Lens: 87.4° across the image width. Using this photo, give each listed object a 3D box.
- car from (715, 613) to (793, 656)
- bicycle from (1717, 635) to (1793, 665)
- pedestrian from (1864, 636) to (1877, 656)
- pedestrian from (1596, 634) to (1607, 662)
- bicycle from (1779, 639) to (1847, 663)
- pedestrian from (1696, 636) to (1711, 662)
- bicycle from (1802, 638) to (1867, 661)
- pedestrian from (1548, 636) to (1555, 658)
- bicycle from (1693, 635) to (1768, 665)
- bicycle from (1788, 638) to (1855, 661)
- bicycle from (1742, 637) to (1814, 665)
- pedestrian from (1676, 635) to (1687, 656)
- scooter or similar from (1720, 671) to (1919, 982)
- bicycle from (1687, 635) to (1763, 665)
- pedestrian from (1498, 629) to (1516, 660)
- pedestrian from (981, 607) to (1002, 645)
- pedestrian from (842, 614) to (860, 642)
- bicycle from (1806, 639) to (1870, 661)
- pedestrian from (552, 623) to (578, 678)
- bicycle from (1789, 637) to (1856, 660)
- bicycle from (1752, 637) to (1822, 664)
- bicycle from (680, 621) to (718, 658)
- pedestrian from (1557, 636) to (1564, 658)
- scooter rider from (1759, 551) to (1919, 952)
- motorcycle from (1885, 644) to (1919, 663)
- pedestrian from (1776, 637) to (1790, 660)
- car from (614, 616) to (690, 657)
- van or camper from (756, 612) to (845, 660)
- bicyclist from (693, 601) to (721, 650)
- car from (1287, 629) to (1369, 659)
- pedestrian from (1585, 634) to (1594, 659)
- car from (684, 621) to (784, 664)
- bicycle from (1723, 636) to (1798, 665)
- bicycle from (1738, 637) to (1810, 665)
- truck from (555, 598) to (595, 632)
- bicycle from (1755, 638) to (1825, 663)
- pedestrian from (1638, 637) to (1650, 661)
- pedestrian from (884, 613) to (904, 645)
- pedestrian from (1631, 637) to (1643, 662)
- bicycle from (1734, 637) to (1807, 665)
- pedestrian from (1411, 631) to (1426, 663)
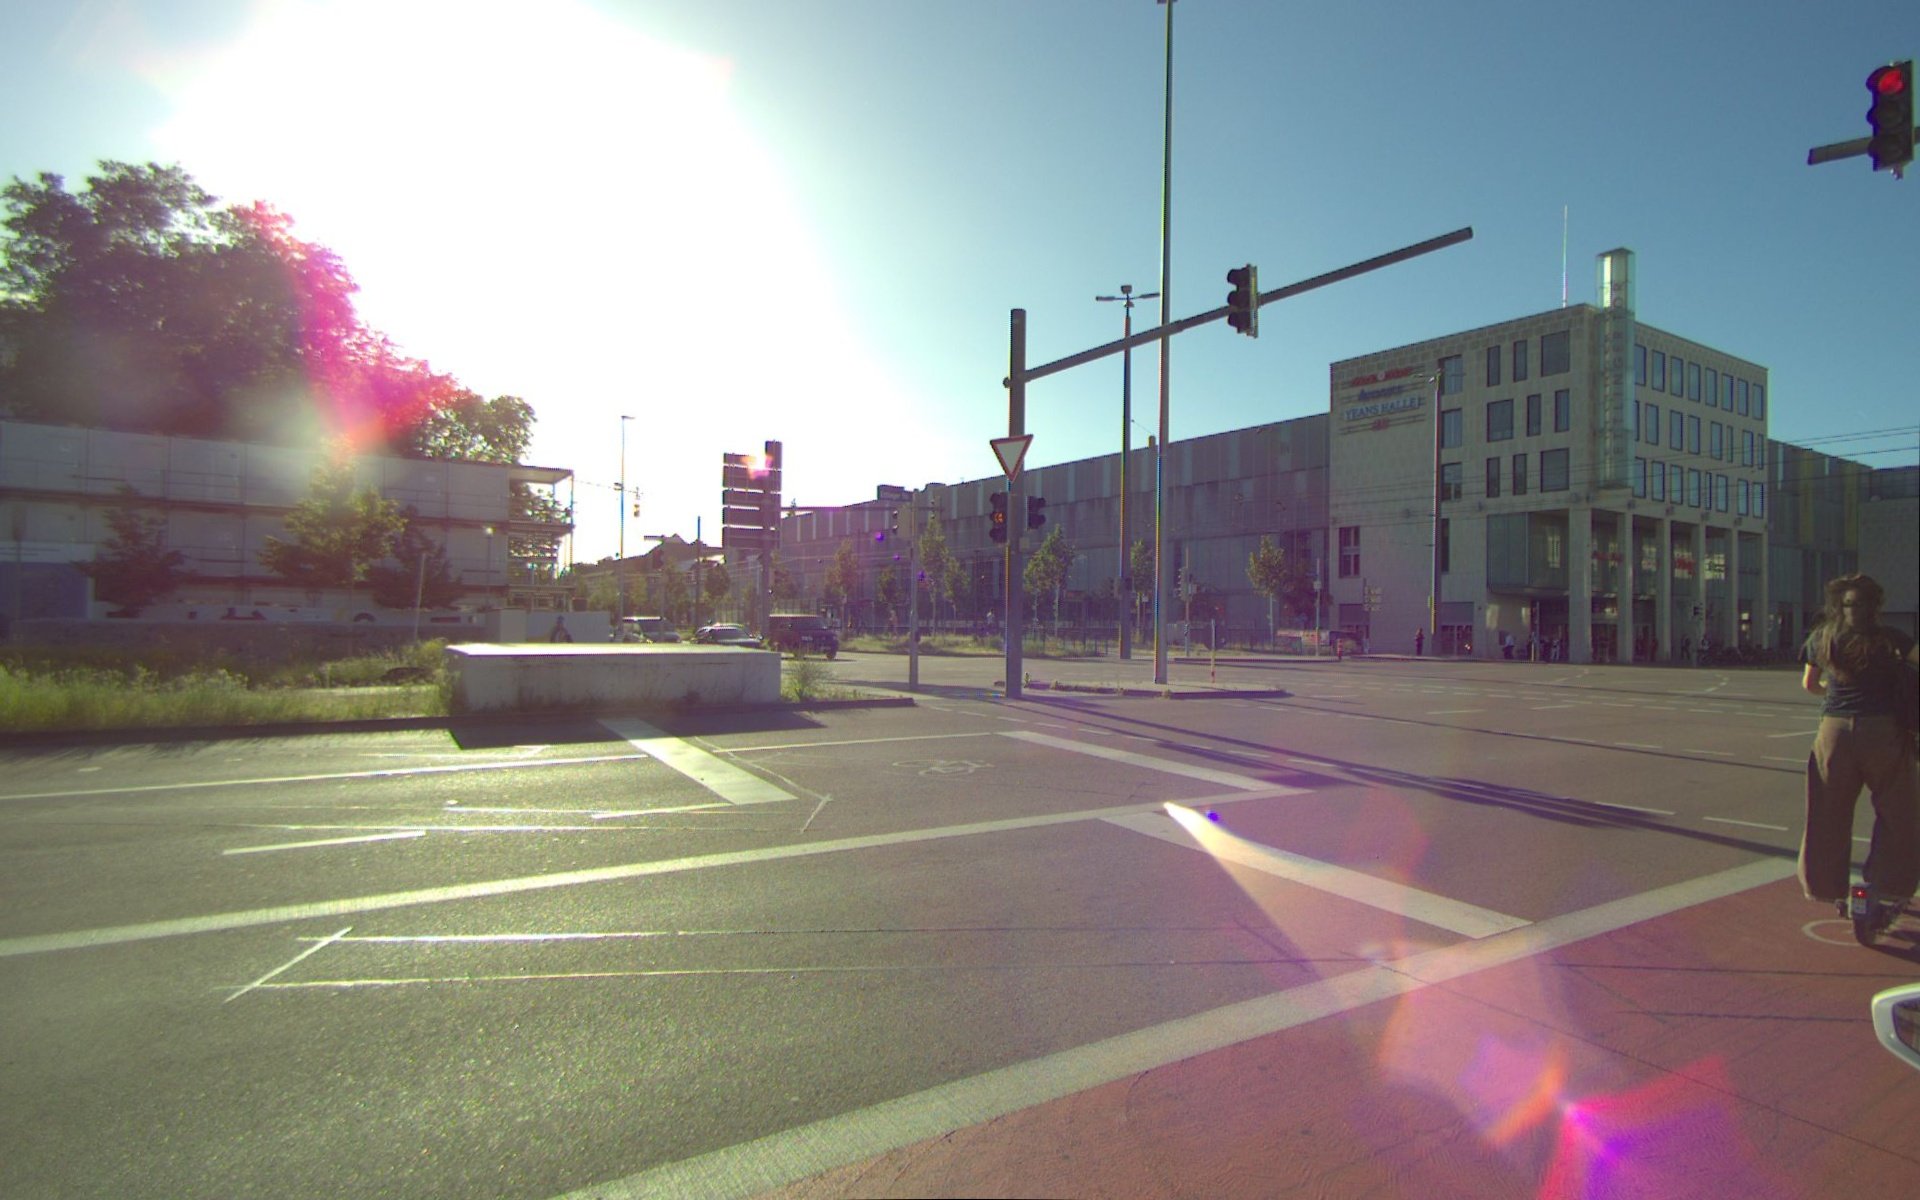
[{"bbox_3d":[-10.388,1.699,50.417,1.981,2.040,4.821,1,-2,-36],"label":"car"},{"bbox_3d":[48.218,3.014,60.937,1.107,1.719,3.465,1,-2,-38],"label":"bicycle"},{"bbox_3d":[74.703,3.763,82.423,0.689,1.664,0.691,1,-1,-40],"label":"pedestrian"},{"bbox_3d":[37.775,2.822,59.145,0.533,1.664,0.548,0,-1,35],"label":"pedestrian"},{"bbox_3d":[58.877,3.480,69.388,0.979,1.547,3.462,2,-2,-40],"label":"bicycle"},{"bbox_3d":[49.492,3.259,66.856,0.773,1.664,0.693,0,-1,32],"label":"pedestrian"},{"bbox_3d":[63.708,3.590,73.202,0.979,1.547,3.462,2,-2,-40],"label":"bicycle"},{"bbox_3d":[38.862,3.059,66.007,0.381,1.445,0.501,0,-1,35],"label":"pedestrian"},{"bbox_3d":[46.612,3.015,60.822,1.107,1.719,3.465,1,-2,-38],"label":"bicycle"},{"bbox_3d":[60.384,3.434,70.470,0.979,1.547,3.462,2,-2,-40],"label":"bicycle"},{"bbox_3d":[52.862,3.260,64.961,0.979,1.719,3.462,1,-2,-40],"label":"bicycle"},{"bbox_3d":[51.642,3.242,71.886,0.630,1.454,0.474,0,-1,38],"label":"pedestrian"},{"bbox_3d":[4.505,0.989,4.877,1.645,1.218,0.725,1,-1,-30],"label":"scooter or similar"},{"bbox_3d":[45.702,2.978,60.032,1.107,1.719,3.465,1,-2,-38],"label":"bicycle"},{"bbox_3d":[33.058,2.691,60.737,0.730,1.822,0.751,1,-1,-38],"label":"pedestrian"},{"bbox_3d":[1.587,1.305,50.593,0.788,1.855,0.706,1,-1,-37],"label":"pedestrian"},{"bbox_3d":[-7.129,1.829,65.715,0.889,1.855,0.787,1,-1,-35],"label":"pedestrian"},{"bbox_3d":[64.508,3.646,73.851,0.979,1.547,3.462,2,-2,-40],"label":"bicycle"},{"bbox_3d":[-12.248,1.555,31.152,0.619,1.674,0.935,1,-1,-30],"label":"pedestrian"},{"bbox_3d":[61.191,3.452,71.301,0.979,1.547,3.462,2,-2,-40],"label":"bicycle"},{"bbox_3d":[54.508,3.321,66.251,0.979,1.719,3.462,1,-2,-40],"label":"bicycle"},{"bbox_3d":[-14.801,2.189,56.795,1.007,2.040,3.472,1,-2,-33],"label":"bicycle"},{"bbox_3d":[39.362,3.080,65.832,0.381,1.431,0.437,0,-1,32],"label":"pedestrian"},{"bbox_3d":[4.537,0.687,4.927,0.801,1.798,0.725,1,-1,-30],"label":"scooter rider"},{"bbox_3d":[70.749,4.017,75.083,0.713,1.335,2.260,1,-2,-34],"label":"motorcycle"},{"bbox_3d":[60.010,3.548,73.237,0.689,1.664,0.648,1,-1,-38],"label":"pedestrian"},{"bbox_3d":[-14.825,1.708,48.140,1.981,1.849,4.821,1,-2,-36],"label":"car"},{"bbox_3d":[-7.298,1.596,45.603,1.981,2.040,4.821,1,-2,-36],"label":"van or camper"},{"bbox_3d":[-14.053,1.434,55.737,1.007,2.677,1.610,1,-1,-34],"label":"bicyclist"},{"bbox_3d":[22.599,2.687,61.806,1.979,1.629,4.439,0,0,-34],"label":"car"},{"bbox_3d":[41.067,3.043,65.526,0.363,1.606,0.384,1,-1,-34],"label":"pedestrian"},{"bbox_3d":[-9.395,1.707,41.511,2.313,1.671,4.821,1,-2,-37],"label":"car"},{"bbox_3d":[49.147,3.080,61.738,1.107,1.719,3.465,1,-2,-38],"label":"bicycle"},{"bbox_3d":[51.948,3.228,64.157,0.979,1.719,3.462,1,-2,-40],"label":"bicycle"},{"bbox_3d":[-33.476,1.333,87.249,1.979,2.875,6.293,1,-2,-33],"label":"truck"},{"bbox_3d":[55.259,3.330,66.920,0.979,1.547,3.462,2,-2,-40],"label":"bicycle"},{"bbox_3d":[44.972,3.219,66.056,0.508,1.530,0.479,1,-1,-34],"label":"pedestrian"},{"bbox_3d":[-3.898,1.708,59.577,0.889,1.855,0.787,1,-1,-35],"label":"pedestrian"},{"bbox_3d":[44.329,3.230,65.772,0.508,1.606,0.479,1,-1,-34],"label":"pedestrian"},{"bbox_3d":[51.122,3.191,63.423,0.979,1.719,3.462,1,-2,-40],"label":"bicycle"},{"bbox_3d":[24.370,2.490,53.403,0.543,1.716,0.521,1,-1,-40],"label":"pedestrian"}]
